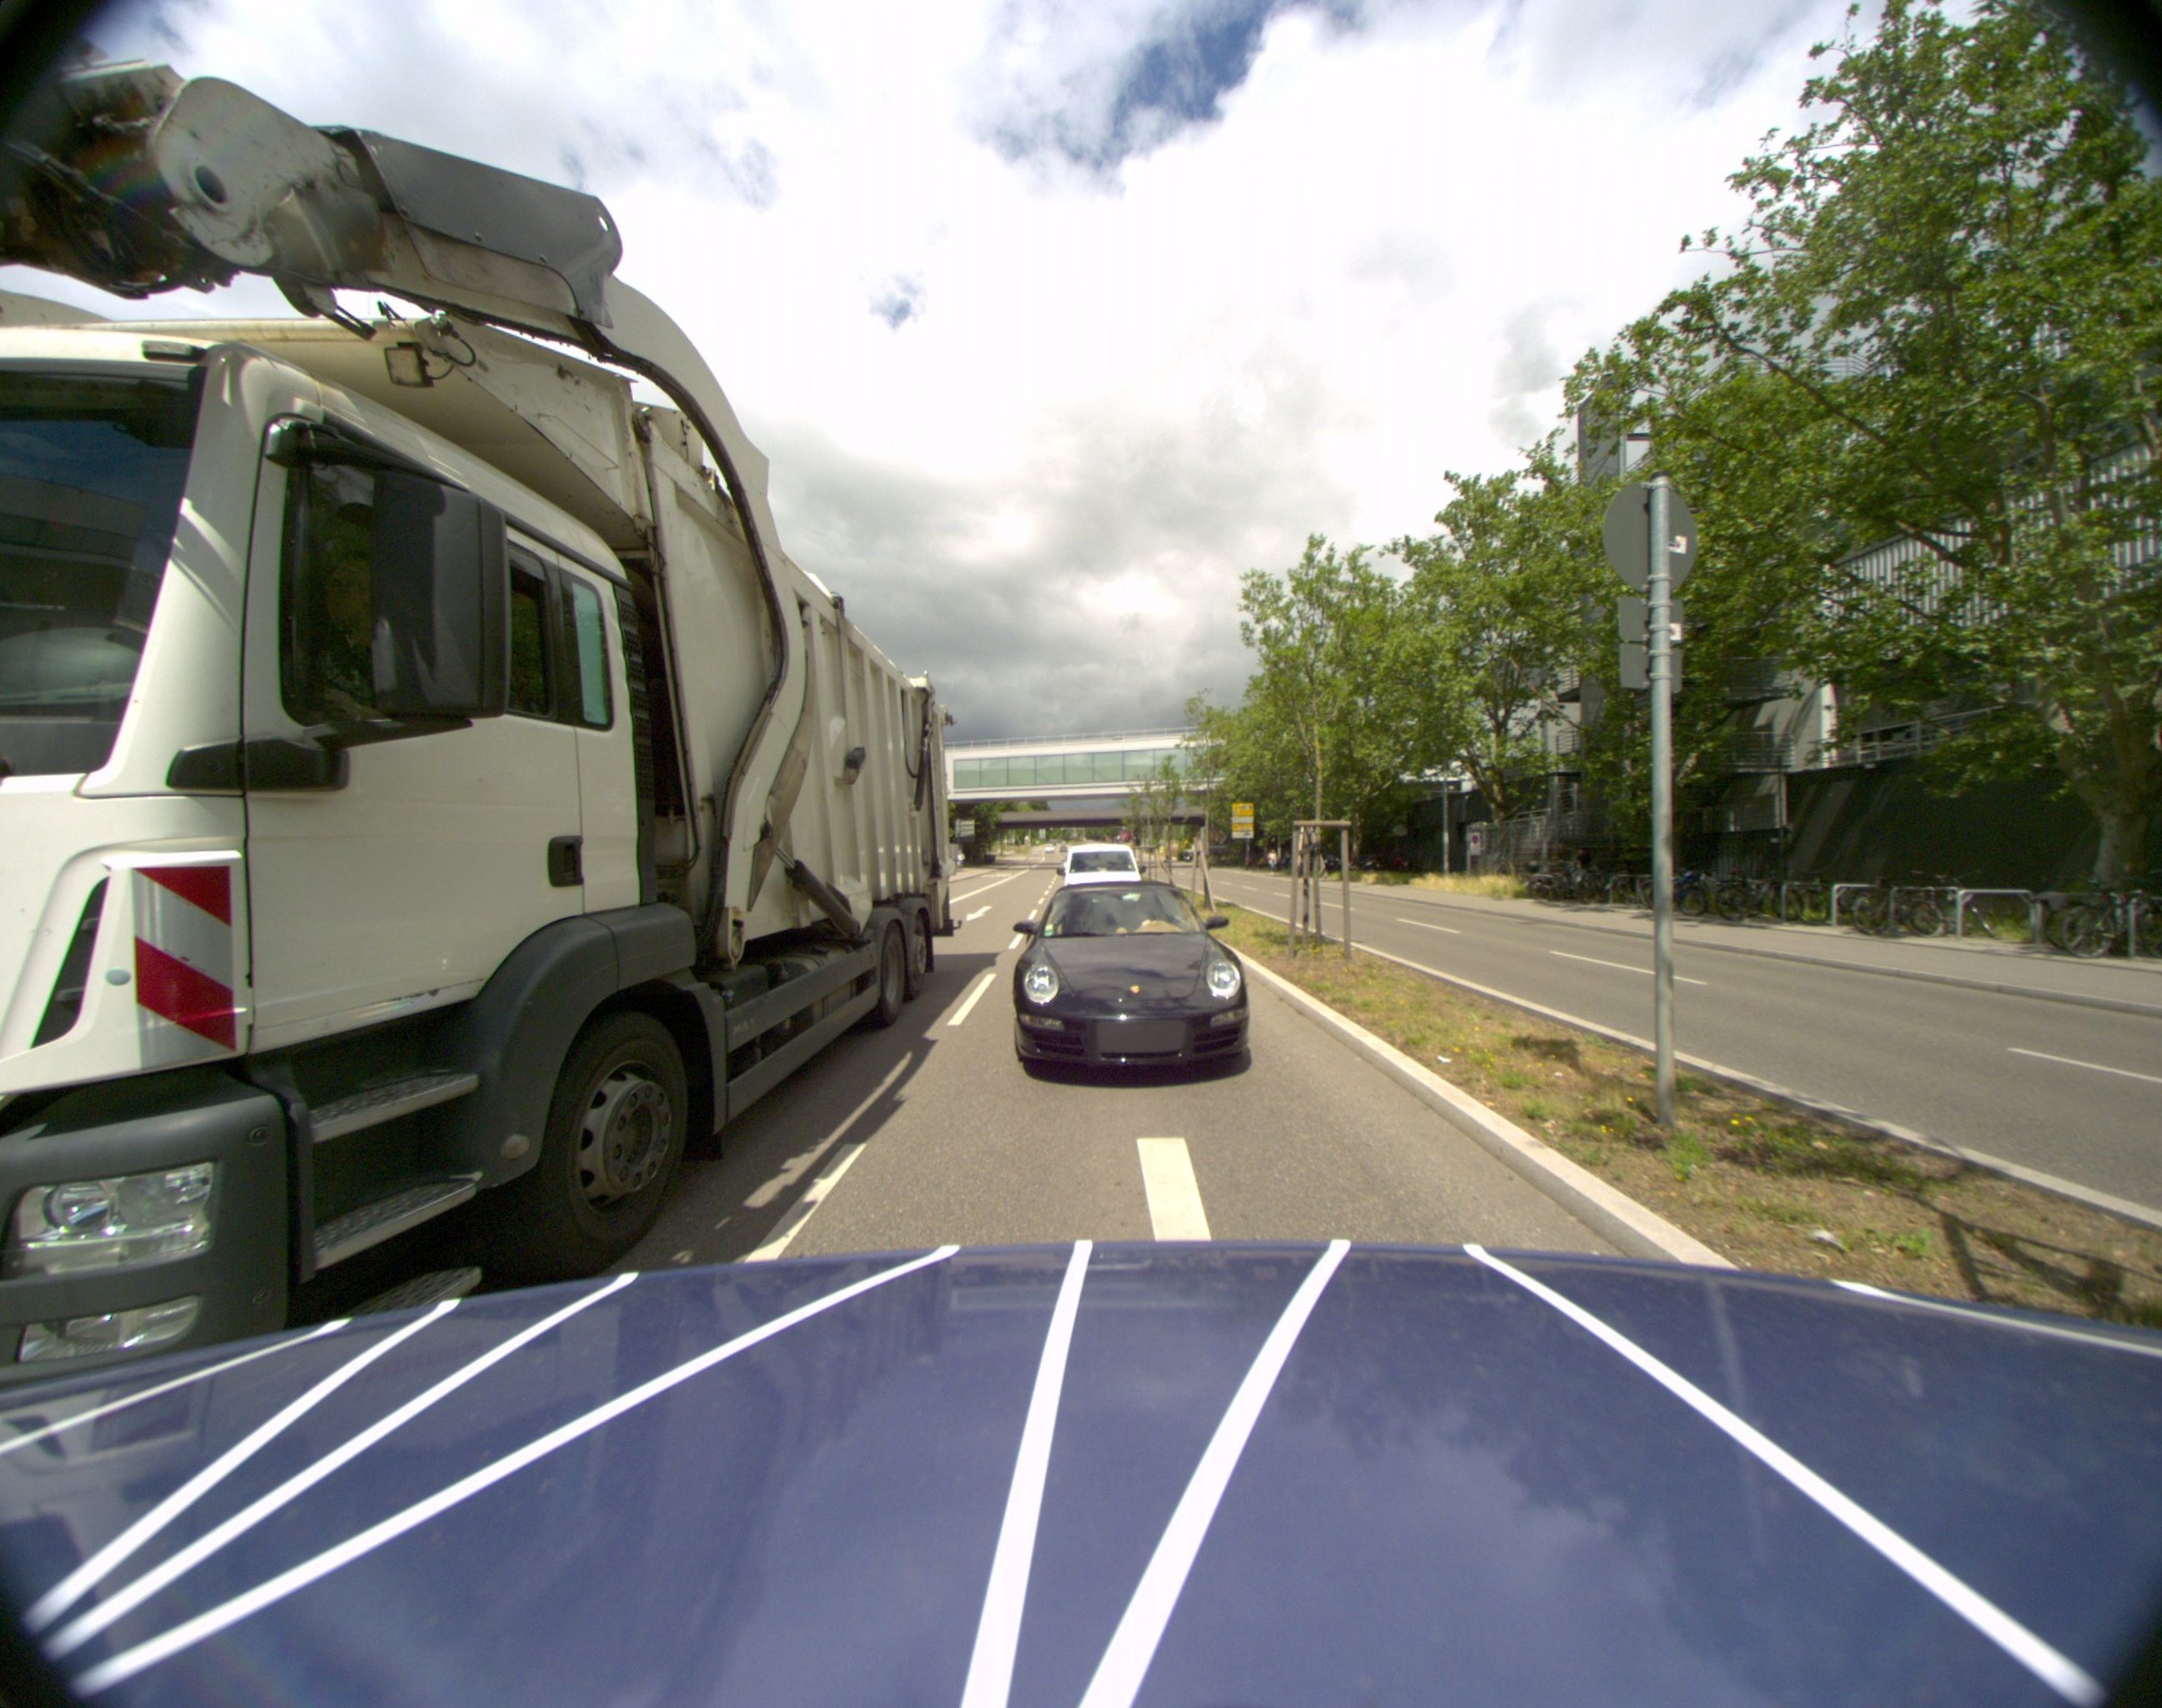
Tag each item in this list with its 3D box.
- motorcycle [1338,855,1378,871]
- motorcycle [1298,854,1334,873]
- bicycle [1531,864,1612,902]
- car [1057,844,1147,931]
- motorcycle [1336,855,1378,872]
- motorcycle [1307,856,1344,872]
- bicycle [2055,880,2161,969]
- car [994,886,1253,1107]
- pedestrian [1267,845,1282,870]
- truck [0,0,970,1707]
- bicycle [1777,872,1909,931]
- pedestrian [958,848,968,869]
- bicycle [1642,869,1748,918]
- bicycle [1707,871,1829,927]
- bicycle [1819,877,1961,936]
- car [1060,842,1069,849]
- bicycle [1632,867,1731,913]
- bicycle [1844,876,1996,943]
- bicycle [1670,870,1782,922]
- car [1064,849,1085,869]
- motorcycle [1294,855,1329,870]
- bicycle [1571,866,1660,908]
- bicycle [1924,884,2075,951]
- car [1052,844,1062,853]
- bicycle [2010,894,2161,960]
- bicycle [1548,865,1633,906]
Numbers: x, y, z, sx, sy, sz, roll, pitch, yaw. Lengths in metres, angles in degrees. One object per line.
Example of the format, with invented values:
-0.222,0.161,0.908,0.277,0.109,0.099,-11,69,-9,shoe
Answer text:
16.181,0.540,44.436,2.133,0.880,0.534,-1,0,1,motorcycle
15.172,0.621,48.997,2.133,1.131,0.534,-1,0,1,motorcycle
14.753,0.872,22.887,2.129,1.104,0.382,-1,1,3,bicycle
0.477,0.707,18.505,1.862,1.800,4.906,-1,0,1,car
15.376,0.552,42.383,2.133,0.893,0.534,-1,0,1,motorcycle
15.368,0.605,47.720,2.133,0.963,0.534,-1,0,1,motorcycle
14.357,0.932,10.238,1.993,1.121,0.382,-1,1,-1,bicycle
0.309,1.037,7.003,1.710,1.280,3.806,-1,0,1,car
13.326,0.258,52.357,0.900,1.710,0.673,-1,1,1,pedestrian
-2.981,-0.227,6.337,2.495,3.890,10.172,-2,1,0,truck
15.044,0.931,15.022,2.129,1.104,0.382,-1,1,3,bicycle
-10.728,0.379,69.108,0.739,1.901,0.658,-2,1,-1,pedestrian
14.508,0.929,17.972,2.129,1.104,0.382,-1,1,3,bicycle
14.504,0.949,16.061,2.129,1.104,0.382,-1,1,3,bicycle
15.014,0.974,14.115,2.129,1.025,0.382,-1,1,3,bicycle
-4.068,-2.097,190.141,1.862,1.800,4.357,-3,0,1,car
15.068,0.901,19.087,2.129,1.104,0.382,-1,1,3,bicycle
14.581,0.962,13.221,2.129,1.089,0.382,-1,1,3,bicycle
14.482,0.937,17.085,2.129,1.104,0.382,-1,1,3,bicycle
-0.550,0.450,67.324,1.747,1.647,3.545,-1,0,0,car
15.329,0.548,50.543,2.133,0.963,0.534,-1,0,1,motorcycle
14.826,0.921,21.099,2.129,1.104,0.382,-1,1,3,bicycle
14.756,1.018,12.220,1.993,0.992,0.382,-1,1,-1,bicycle
-5.797,-1.401,183.869,1.925,2.082,4.657,-1,0,2,car
14.959,1.076,11.241,1.993,0.885,0.382,-1,1,-1,bicycle
14.756,0.908,22.022,2.129,1.104,0.382,-1,1,3,bicycle
